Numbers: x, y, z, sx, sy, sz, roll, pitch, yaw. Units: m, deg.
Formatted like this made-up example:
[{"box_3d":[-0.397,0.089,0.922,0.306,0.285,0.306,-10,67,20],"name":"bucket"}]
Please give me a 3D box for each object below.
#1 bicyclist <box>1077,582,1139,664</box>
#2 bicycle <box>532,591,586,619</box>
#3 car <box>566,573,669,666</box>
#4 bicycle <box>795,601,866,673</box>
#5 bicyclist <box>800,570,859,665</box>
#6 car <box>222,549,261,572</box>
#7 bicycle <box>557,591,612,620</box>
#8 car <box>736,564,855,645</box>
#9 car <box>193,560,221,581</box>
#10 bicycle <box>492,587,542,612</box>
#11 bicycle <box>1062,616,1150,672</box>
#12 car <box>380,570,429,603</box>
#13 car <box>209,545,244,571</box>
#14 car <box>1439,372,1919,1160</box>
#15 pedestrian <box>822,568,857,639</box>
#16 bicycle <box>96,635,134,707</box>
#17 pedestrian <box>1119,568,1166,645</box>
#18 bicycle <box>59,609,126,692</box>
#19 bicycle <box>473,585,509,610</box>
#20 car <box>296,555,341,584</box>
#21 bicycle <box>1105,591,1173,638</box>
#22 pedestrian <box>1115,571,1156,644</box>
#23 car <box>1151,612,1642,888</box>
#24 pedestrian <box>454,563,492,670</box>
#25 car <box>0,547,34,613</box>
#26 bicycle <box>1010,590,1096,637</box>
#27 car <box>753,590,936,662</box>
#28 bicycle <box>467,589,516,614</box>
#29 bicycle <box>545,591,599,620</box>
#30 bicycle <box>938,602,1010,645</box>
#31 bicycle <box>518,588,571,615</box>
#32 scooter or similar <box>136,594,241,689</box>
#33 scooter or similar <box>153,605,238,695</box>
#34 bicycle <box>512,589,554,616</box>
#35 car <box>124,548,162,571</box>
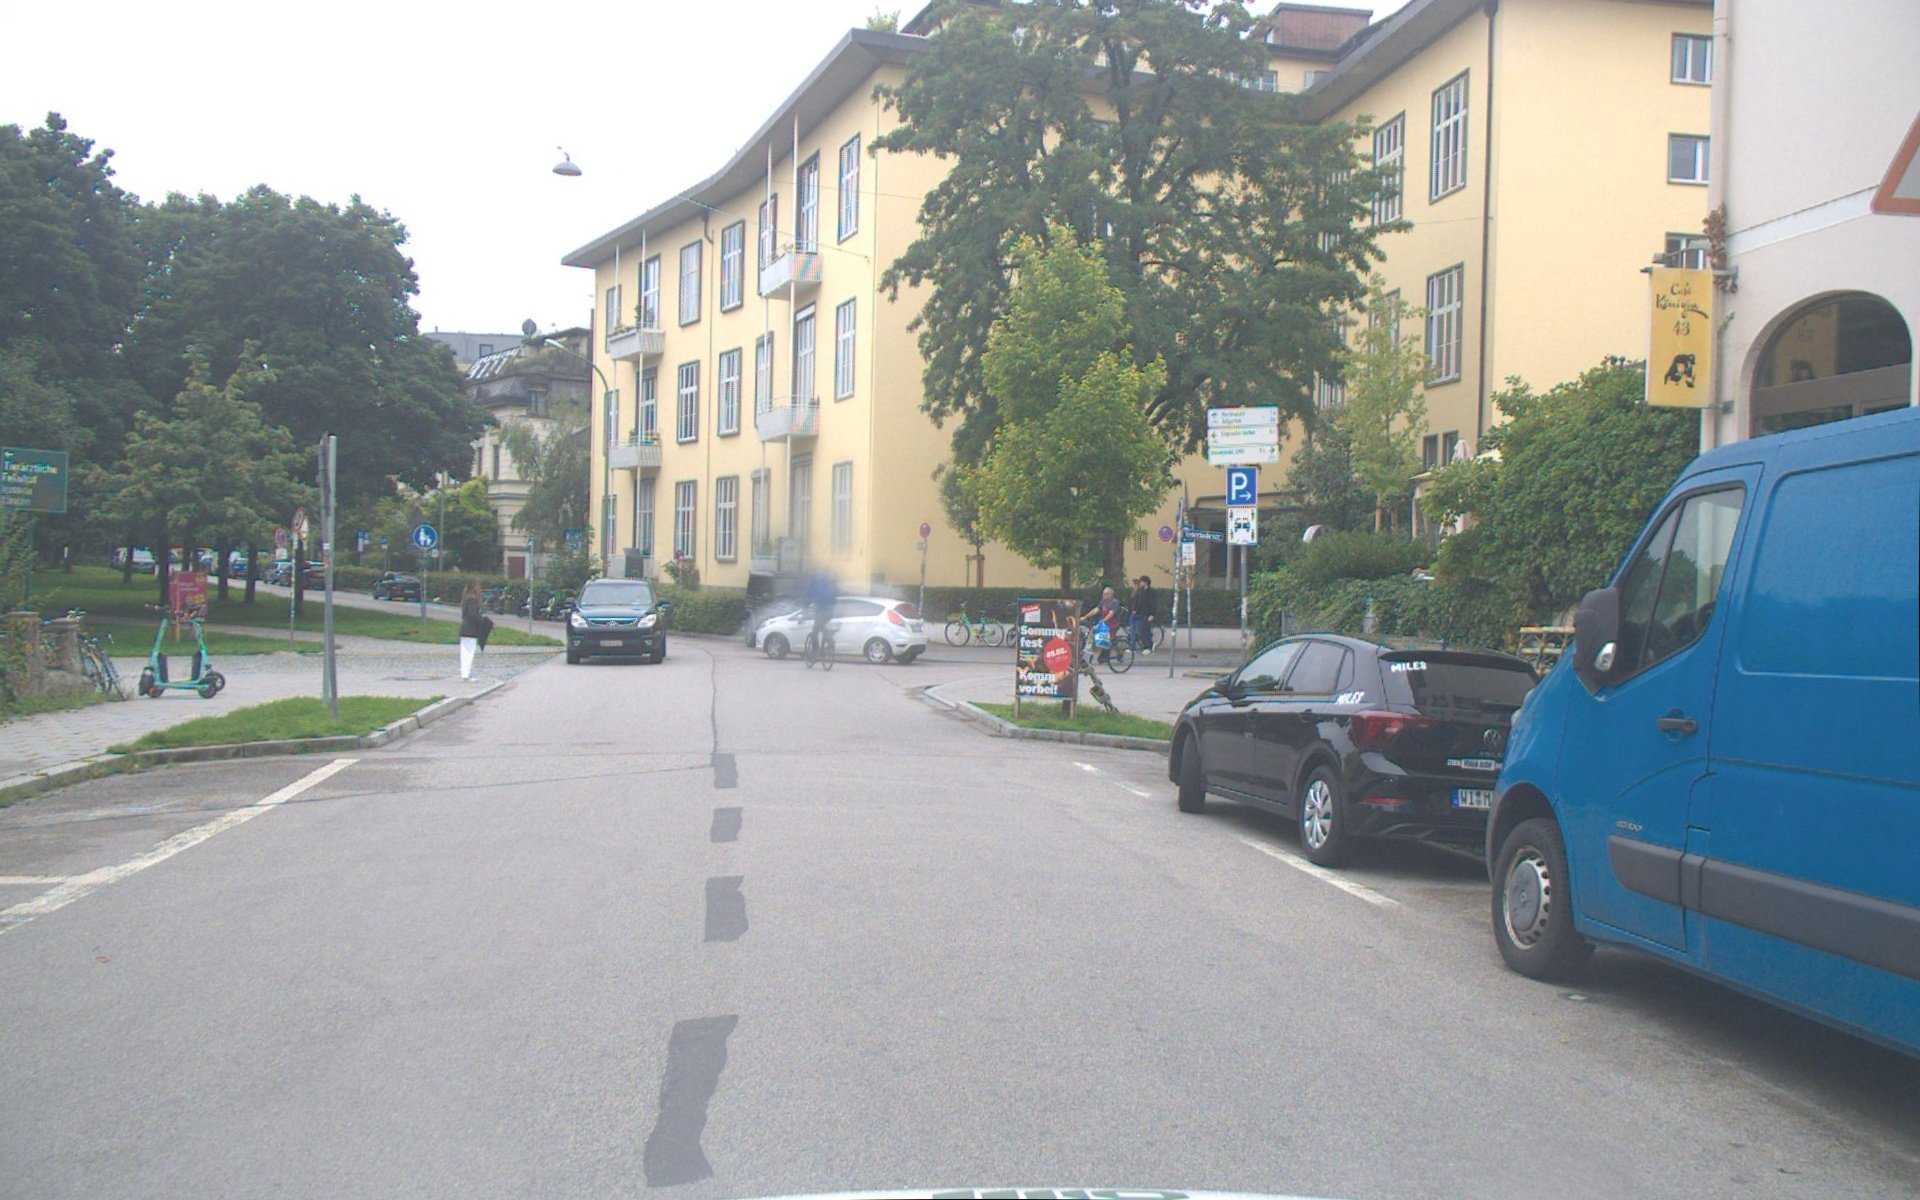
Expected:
[{"box_3d":[3.059,0.450,34.103,0.860,1.637,1.046,2,1,34],"name":"bicyclist"},{"box_3d":[-15.378,0.191,63.447,0.608,1.046,1.964,1,1,44],"name":"bicycle"},{"box_3d":[-7.215,0.347,34.682,1.959,1.749,4.601,1,1,-13],"name":"car"},{"box_3d":[-2.541,0.695,32.197,0.906,1.274,2.311,0,1,-17],"name":"bicycle"},{"box_3d":[-2.549,0.321,32.248,0.899,1.795,1.210,0,1,-17],"name":"bicyclist"},{"box_3d":[-53.056,-2.930,122.108,1.975,1.628,4.206,0,1,-33],"name":"car"},{"box_3d":[-14.072,0.215,62.020,0.608,1.046,1.964,1,1,44],"name":"bicycle"},{"box_3d":[-4.263,0.060,42.260,1.847,1.920,4.589,0,1,-22],"name":"car"},{"box_3d":[-63.626,-2.488,139.768,1.710,1.732,3.959,0,1,-31],"name":"car"},{"box_3d":[-18.619,-0.010,69.534,0.608,1.046,1.964,1,1,44],"name":"bicycle"},{"box_3d":[3.025,0.883,34.096,0.861,1.037,2.184,2,2,34],"name":"bicycle"},{"box_3d":[-28.040,-0.712,83.423,1.630,1.585,3.523,0,2,-30],"name":"car"},{"box_3d":[-57.765,-3.288,130.241,2.044,2.000,4.929,0,1,-29],"name":"car"},{"box_3d":[3.704,0.554,5.654,2.069,2.251,5.021,6,-1,-6],"name":"car"},{"box_3d":[-3.095,0.076,42.431,0.832,1.788,0.952,0,1,-7],"name":"pedestrian"},{"box_3d":[-11.237,0.929,22.006,0.428,0.909,1.319,1,-1,-26],"name":"bicycle"},{"box_3d":[4.412,0.152,40.014,0.971,1.840,0.658,1,1,-9],"name":"pedestrian"},{"box_3d":[-12.197,0.693,23.250,1.166,1.130,0.300,0,0,33],"name":"bicycle"},{"box_3d":[-20.140,-0.113,71.103,0.402,1.032,1.529,1,2,41],"name":"bicycle"},{"box_3d":[-38.729,-1.864,99.781,1.777,1.709,3.954,0,2,-33],"name":"car"},{"box_3d":[4.543,0.362,41.990,1.651,1.150,0.459,1,1,-10],"name":"bicycle"},{"box_3d":[4.344,0.191,40.950,0.811,1.776,0.739,1,1,-9],"name":"pedestrian"},{"box_3d":[2.812,0.907,11.651,1.684,1.418,3.989,4,0,-11],"name":"car"},{"box_3d":[-7.958,0.256,27.025,0.534,1.726,0.663,-1,1,-20],"name":"pedestrian"},{"box_3d":[-30.817,-0.611,50.708,1.746,2.048,3.999,1,1,23],"name":"car"},{"box_3d":[2.365,0.333,42.149,2.121,1.135,0.641,1,1,8],"name":"bicycle"},{"box_3d":[-2.552,0.541,36.656,3.638,1.431,1.753,1,1,20],"name":"car"},{"box_3d":[-20.109,0.057,71.025,0.608,1.046,1.964,1,1,44],"name":"bicycle"},{"box_3d":[-14.687,0.210,62.597,0.608,1.046,1.964,1,1,44],"name":"bicycle"},{"box_3d":[0.364,0.610,43.107,1.910,1.103,0.527,-1,0,35],"name":"bicycle"},{"box_3d":[-16.169,0.067,64.439,0.608,1.046,1.964,1,1,44],"name":"bicycle"},{"box_3d":[-10.568,0.568,22.655,1.233,1.266,0.394,1,-1,3],"name":"scooter or similar"},{"box_3d":[-10.793,0.703,23.374,0.429,1.234,1.053,0,-1,23],"name":"scooter or similar"},{"box_3d":[-16.982,0.095,65.804,0.521,1.046,1.977,1,1,24],"name":"bicycle"},{"box_3d":[-58.490,-2.910,118.401,1.975,1.628,4.418,0,1,-32],"name":"car"}]
